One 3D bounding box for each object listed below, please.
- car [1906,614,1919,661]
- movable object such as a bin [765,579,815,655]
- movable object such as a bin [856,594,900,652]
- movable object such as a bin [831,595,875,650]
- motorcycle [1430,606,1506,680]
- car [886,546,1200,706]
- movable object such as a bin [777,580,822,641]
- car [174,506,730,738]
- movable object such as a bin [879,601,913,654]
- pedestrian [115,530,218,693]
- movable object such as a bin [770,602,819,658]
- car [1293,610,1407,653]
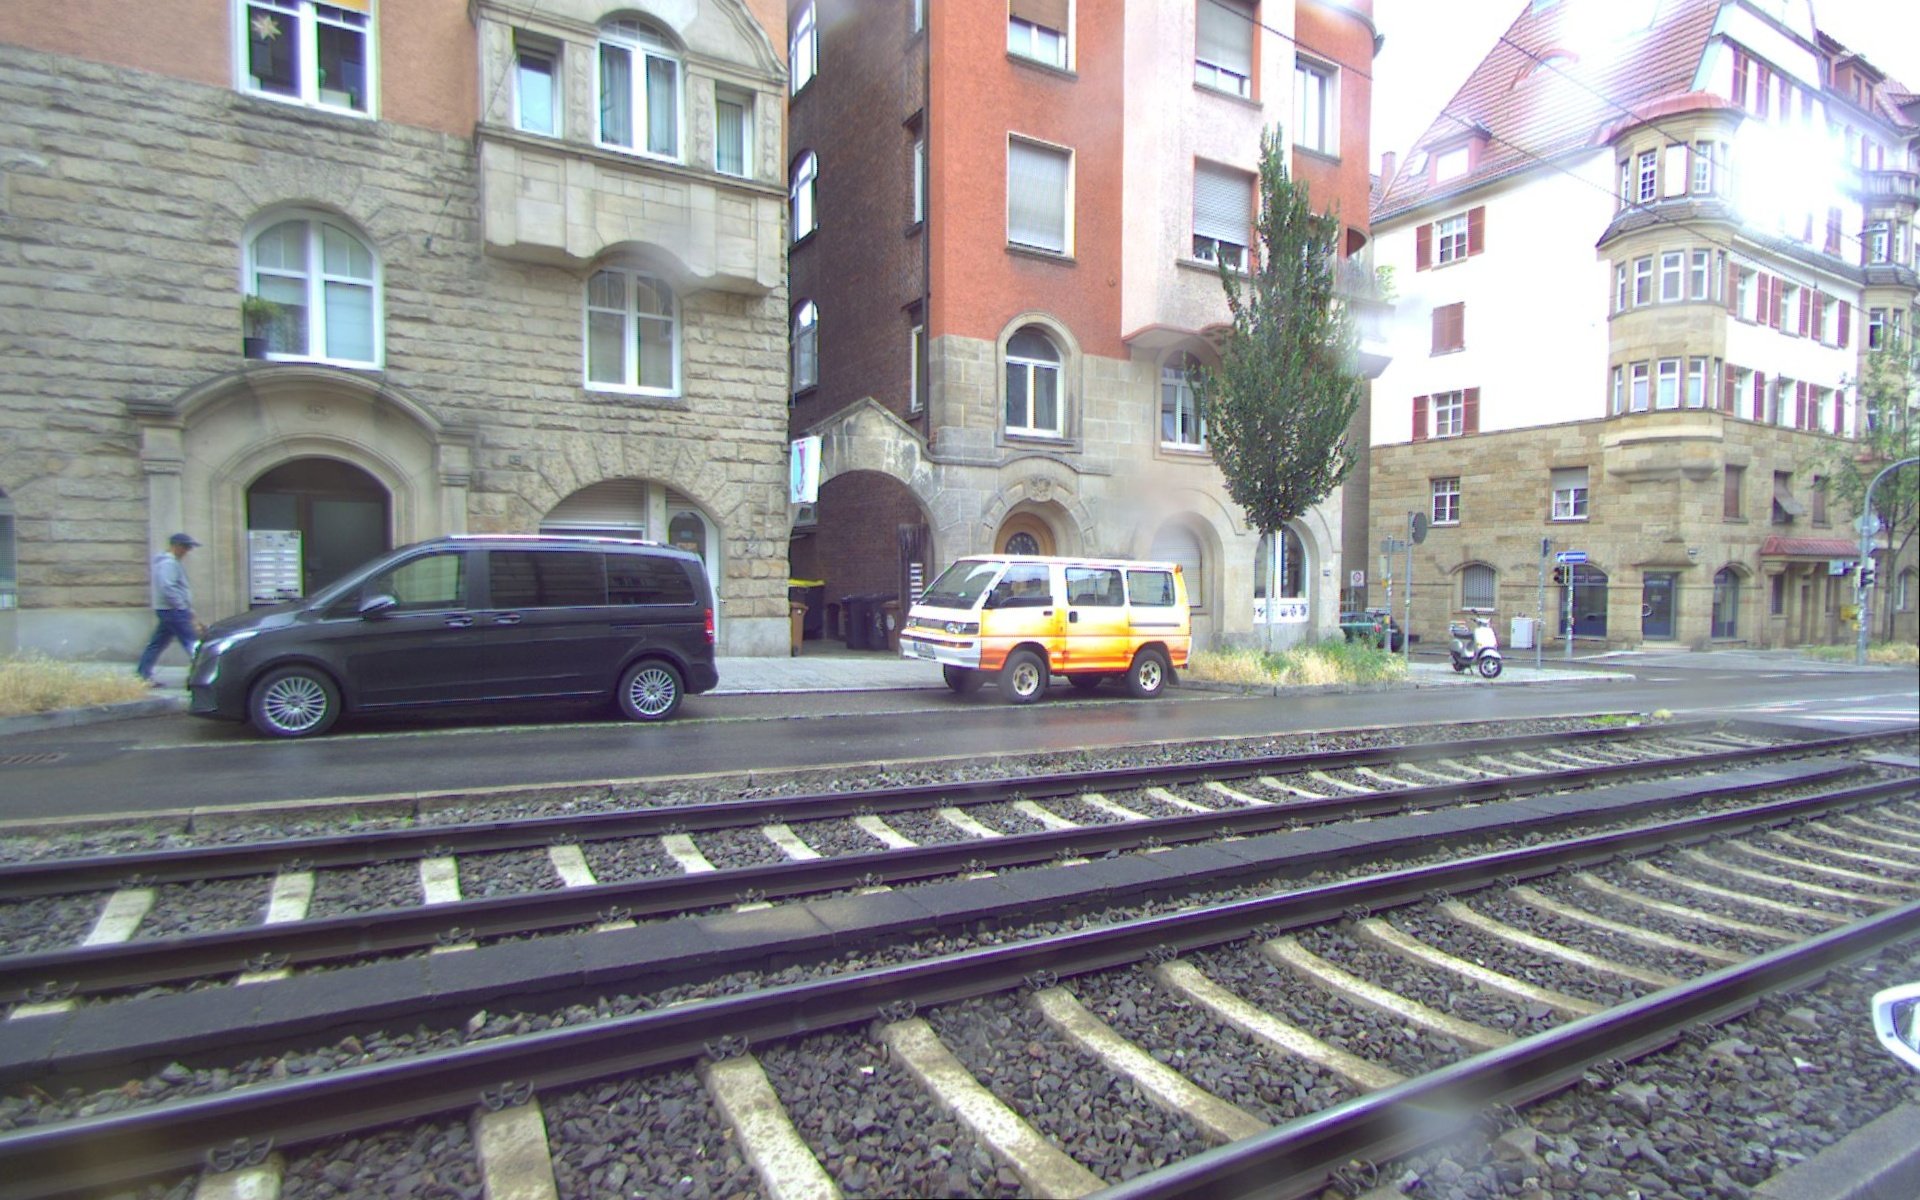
[{"bbox_3d":[34.150,1.326,34.349,3.994,1.573,1.741,2,0,-34],"label":"car"},{"bbox_3d":[-3.124,0.297,18.457,0.648,1.360,0.903,1,1,-27],"label":"movable object such as a bin"},{"bbox_3d":[-1.563,0.436,19.133,0.607,1.090,0.679,1,-1,-27],"label":"movable object such as a bin"},{"bbox_3d":[-2.101,0.441,19.680,0.607,1.052,0.793,1,-1,-27],"label":"movable object such as a bin"},{"bbox_3d":[10.088,0.827,19.995,0.612,1.384,1.596,2,0,-3],"label":"motorcycle"},{"bbox_3d":[1.258,0.373,14.433,4.295,2.001,1.721,2,0,-32],"label":"car"},{"bbox_3d":[-3.628,0.233,22.651,0.676,1.324,1.154,1,1,-26],"label":"movable object such as a bin"},{"bbox_3d":[-5.068,0.248,10.589,4.769,1.968,1.984,2,0,-30],"label":"car"},{"bbox_3d":[-1.190,0.511,18.625,0.442,0.957,0.557,1,-1,-27],"label":"movable object such as a bin"},{"bbox_3d":[-8.600,0.112,10.914,0.756,1.664,0.696,2,6,-30],"label":"pedestrian"},{"bbox_3d":[-2.909,0.519,17.585,0.627,0.918,0.793,1,1,-27],"label":"movable object such as a bin"},{"bbox_3d":[14.443,1.149,37.338,1.683,1.423,3.618,2,0,-34],"label":"car"}]
